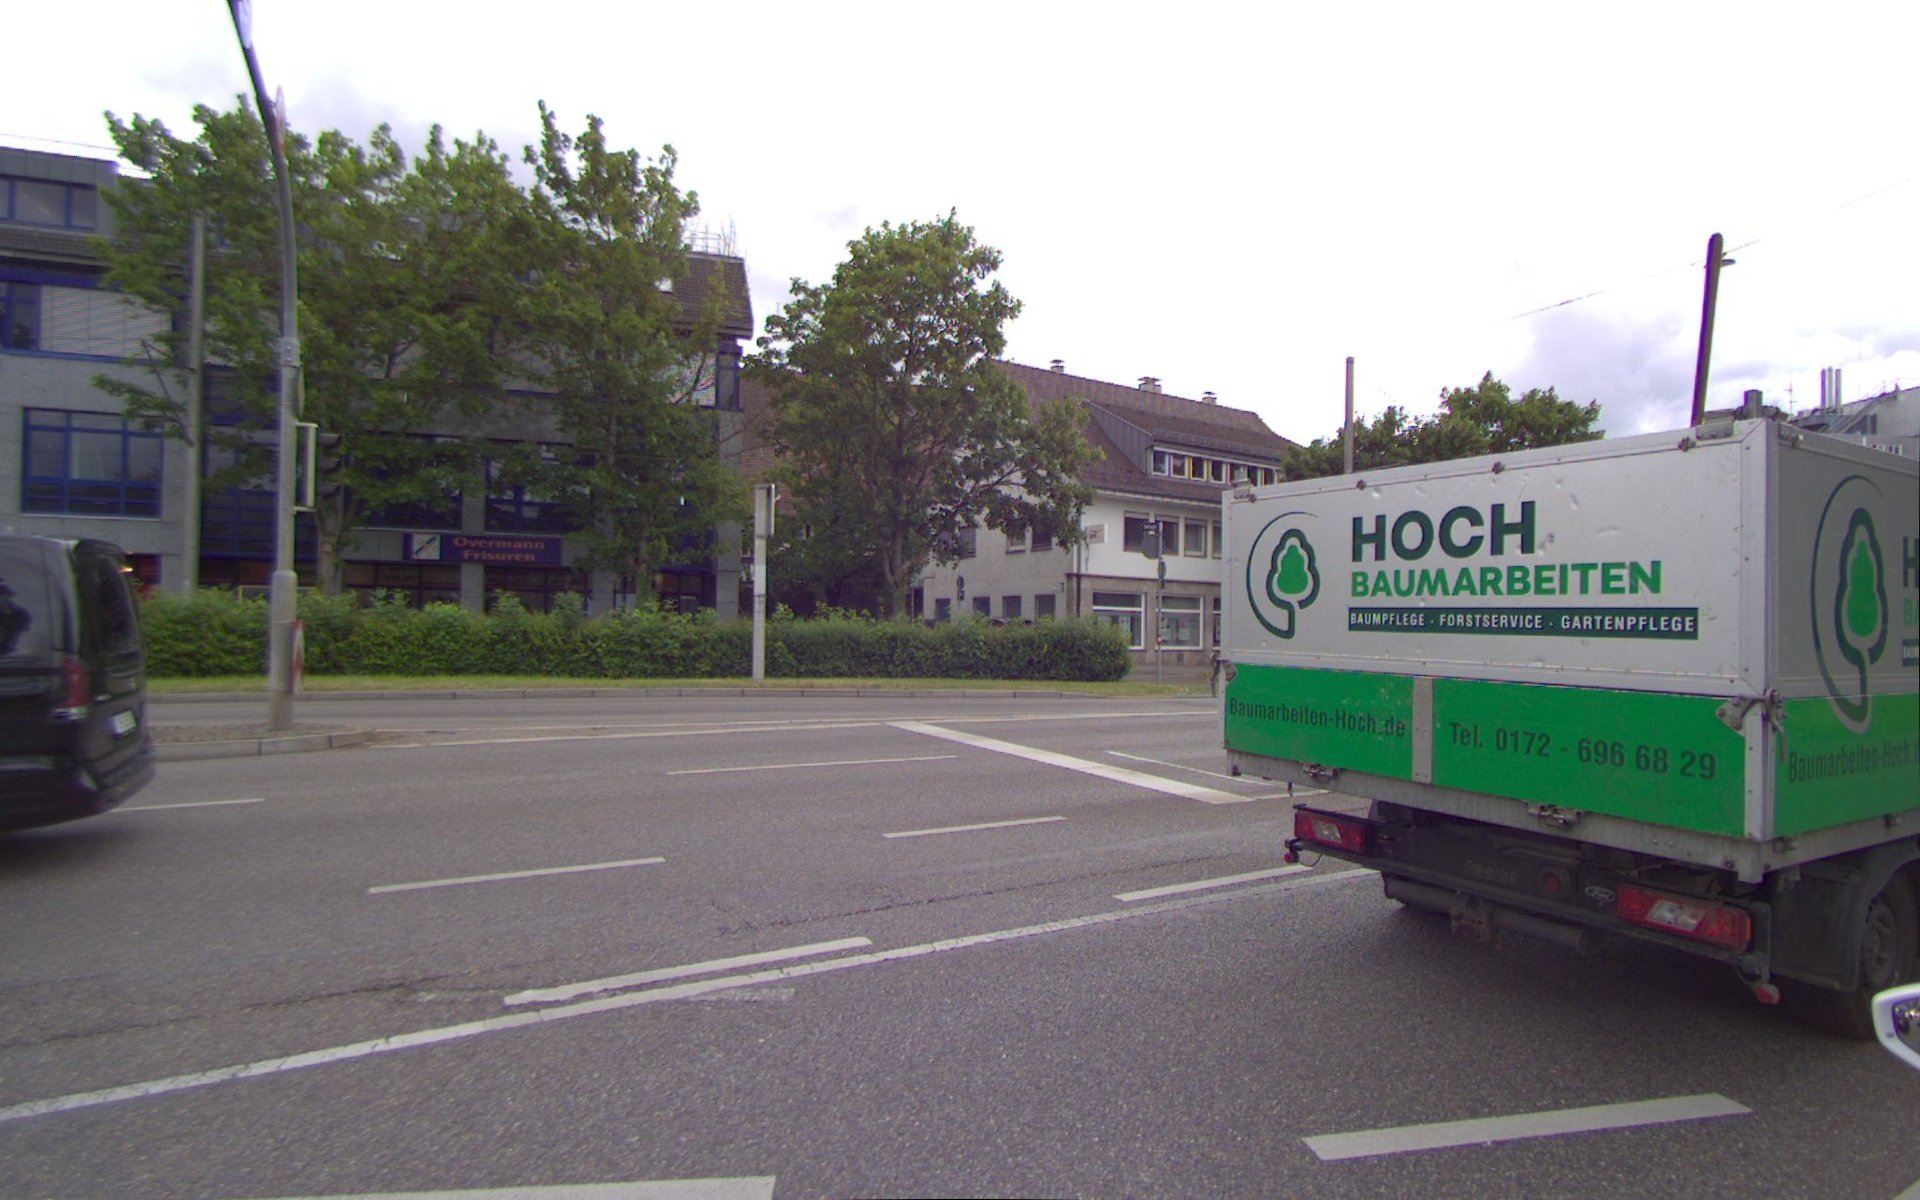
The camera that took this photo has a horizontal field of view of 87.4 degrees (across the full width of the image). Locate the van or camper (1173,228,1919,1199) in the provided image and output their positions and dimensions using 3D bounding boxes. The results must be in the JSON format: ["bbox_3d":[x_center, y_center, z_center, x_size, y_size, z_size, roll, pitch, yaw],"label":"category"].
[{"bbox_3d":[4.127,0.362,5.290,5.897,2.697,2.331,1,0,-32],"label":"van or camper"}]

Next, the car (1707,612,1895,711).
[{"bbox_3d":[20.500,1.400,24.451,4.776,2.041,1.984,-1,2,-30],"label":"car"}]

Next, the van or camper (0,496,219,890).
[{"bbox_3d":[-6.903,0.414,4.808,5.189,1.963,1.916,1,0,-32],"label":"van or camper"}]
